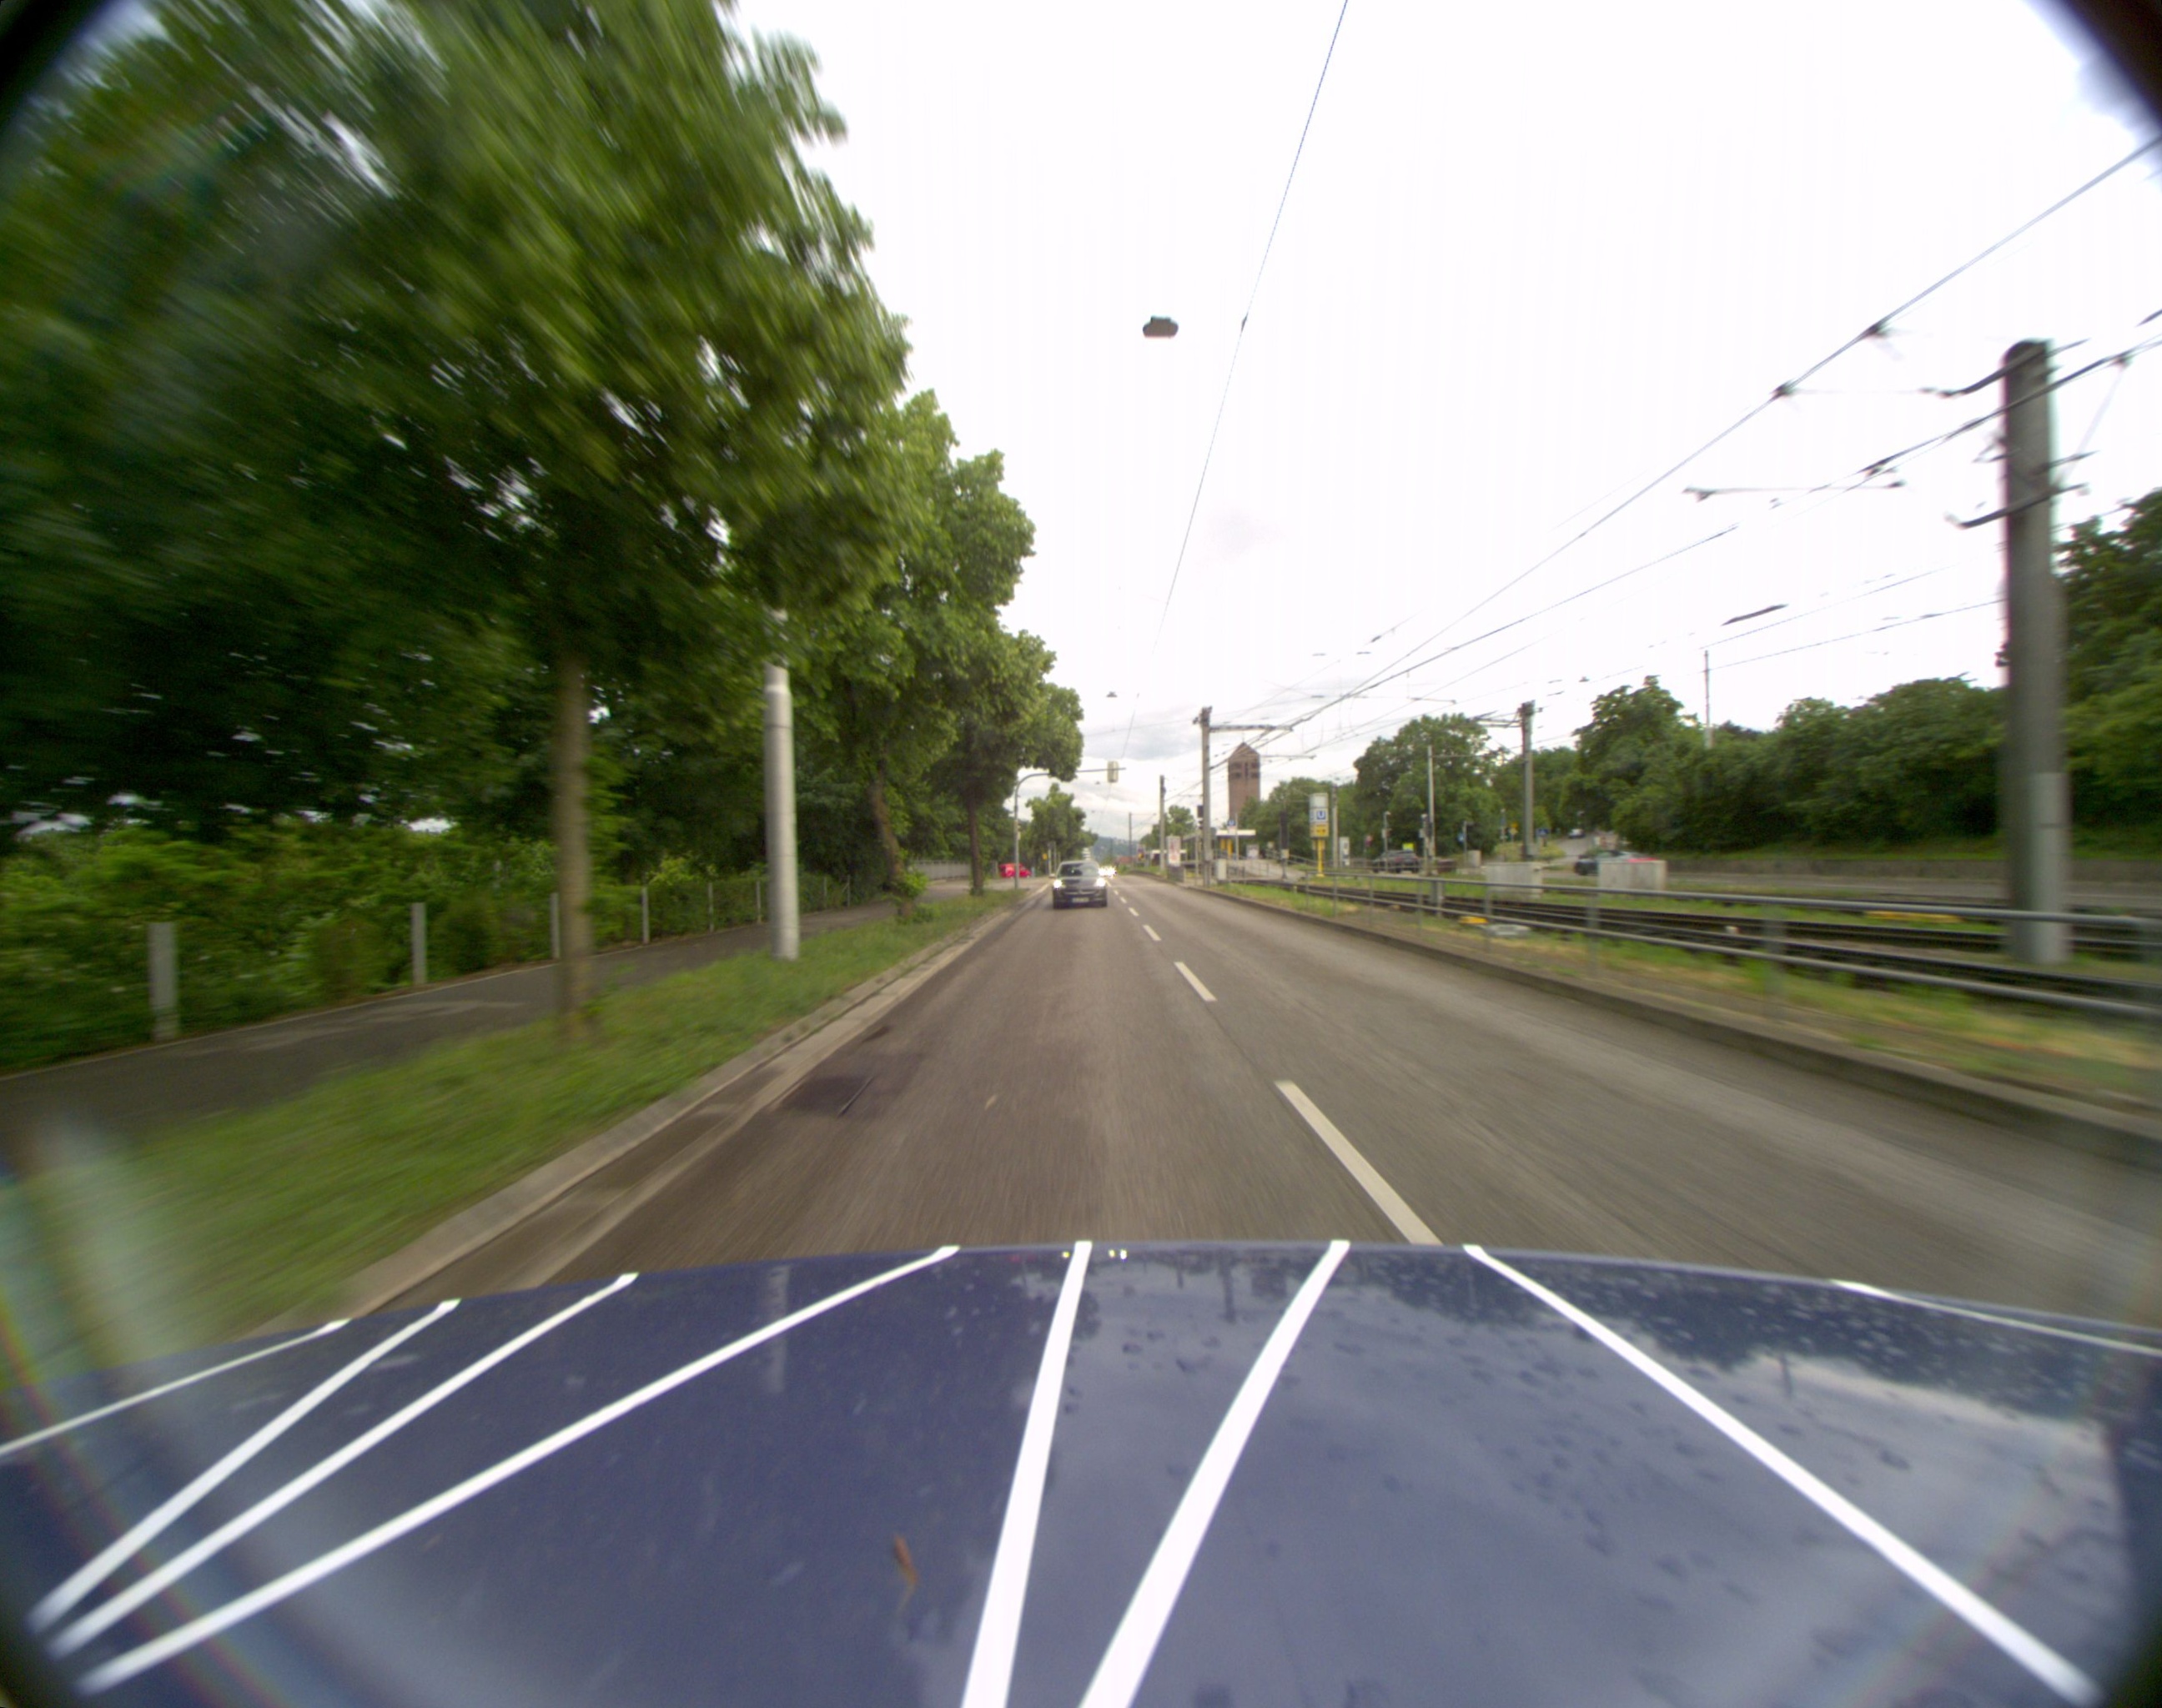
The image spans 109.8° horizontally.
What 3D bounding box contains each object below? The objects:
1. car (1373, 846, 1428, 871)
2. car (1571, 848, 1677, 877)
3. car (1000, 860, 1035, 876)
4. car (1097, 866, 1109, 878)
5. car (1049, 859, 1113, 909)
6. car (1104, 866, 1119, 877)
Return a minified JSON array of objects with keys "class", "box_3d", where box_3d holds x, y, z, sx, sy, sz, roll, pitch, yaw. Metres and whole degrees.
[{"class":"car","box_3d":[23.731,0.335,56.639,2.088,1.728,4.862,-1,0,0]},{"class":"car","box_3d":[26.120,0.398,36.768,1.932,1.254,4.474,-1,0,0]},{"class":"car","box_3d":[-9.470,2.012,112.959,1.994,2.179,5.041,-2,0,43]},{"class":"car","box_3d":[3.448,2.796,118.609,1.812,1.566,3.971,-2,0,1]},{"class":"car","box_3d":[0.031,0.945,25.133,1.899,1.432,4.474,-2,-1,1]},{"class":"car","box_3d":[4.005,2.309,99.960,1.899,1.432,4.247,-2,-1,1]}]
